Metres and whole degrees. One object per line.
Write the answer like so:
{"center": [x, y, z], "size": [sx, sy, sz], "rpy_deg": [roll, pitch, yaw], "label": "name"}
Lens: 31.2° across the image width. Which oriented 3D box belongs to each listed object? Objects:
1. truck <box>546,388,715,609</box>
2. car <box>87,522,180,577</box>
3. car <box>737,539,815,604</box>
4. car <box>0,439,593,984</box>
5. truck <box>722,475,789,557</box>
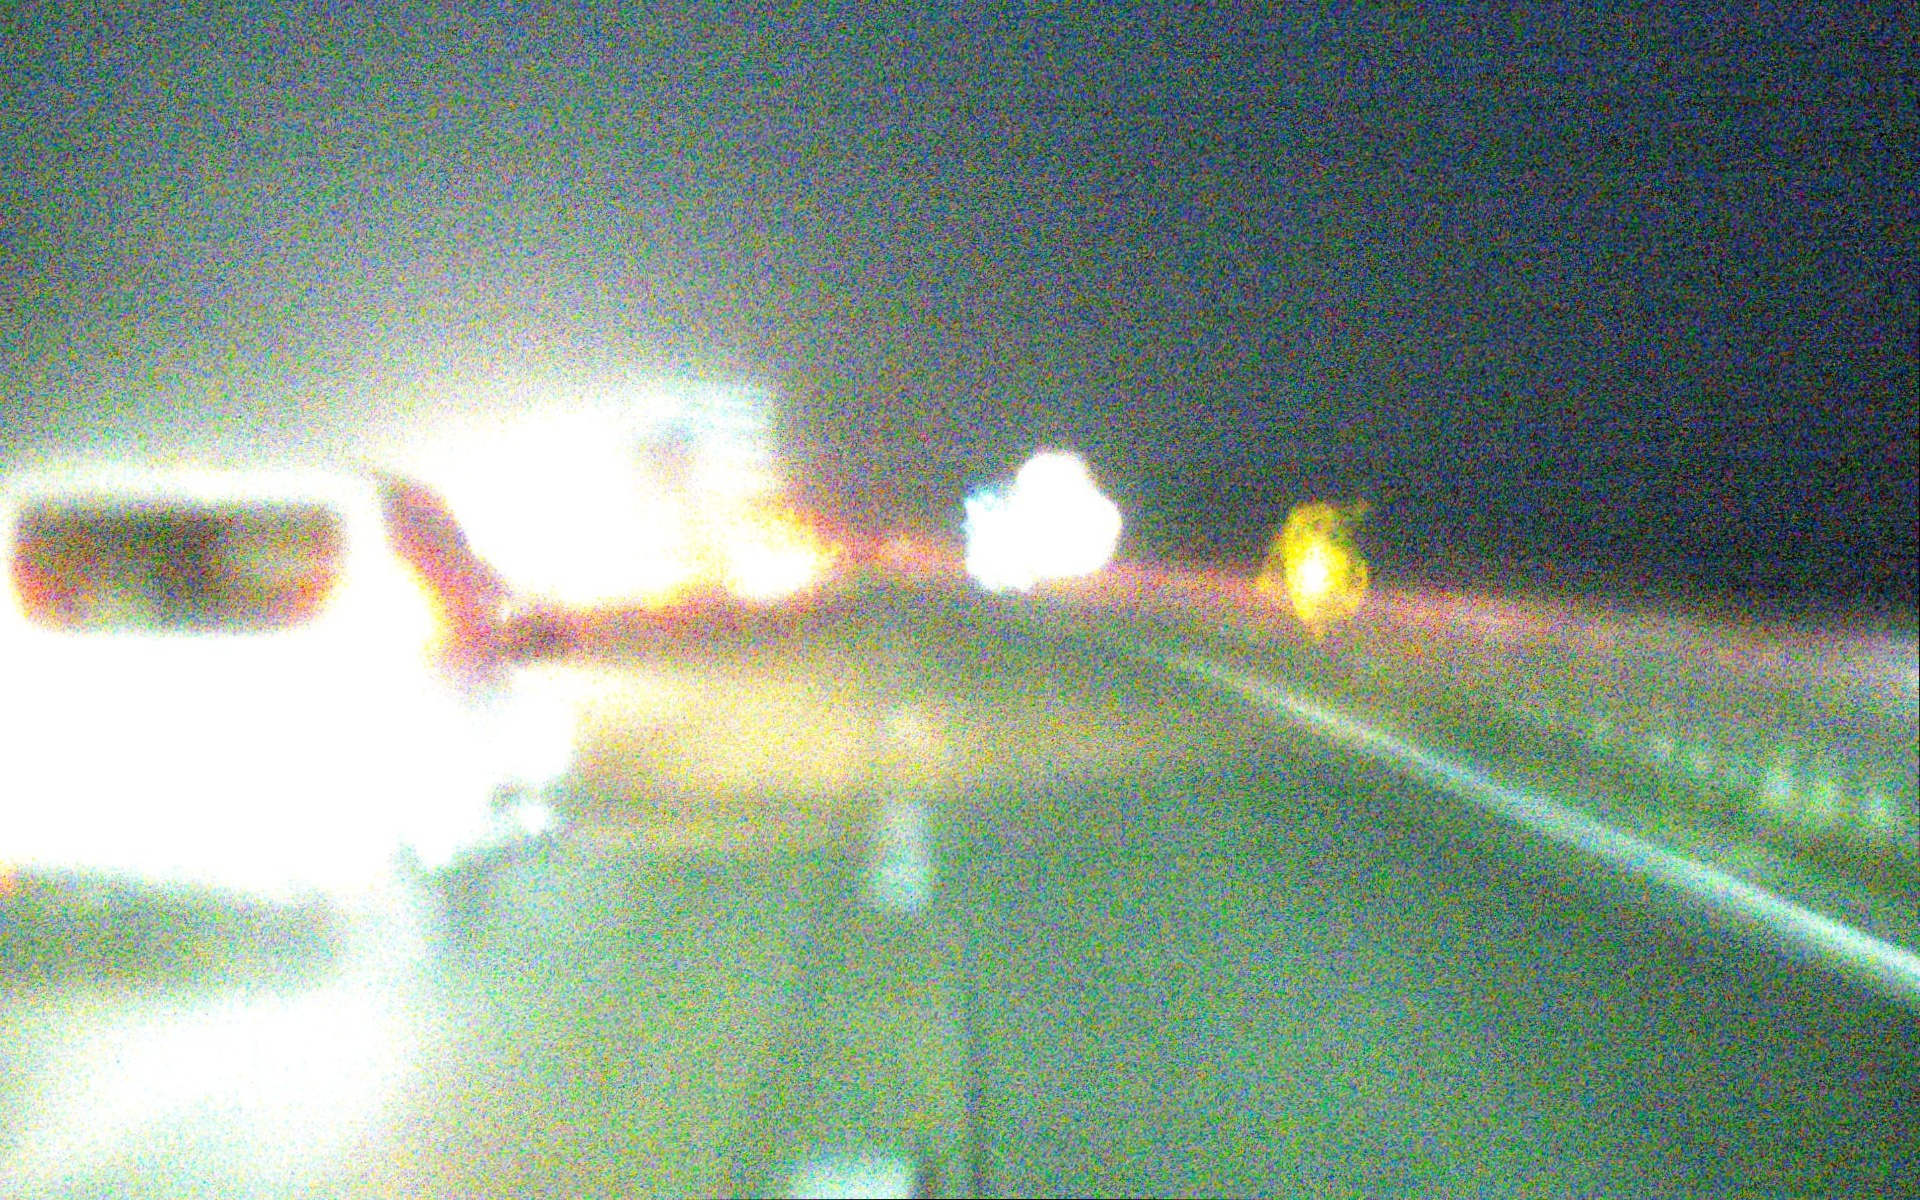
{"center": [-8.846, -2.672, 93.639], "size": [4.167, 5.525, 13.077], "rpy_deg": [1, 1, -4], "label": "truck"}
{"center": [-25.603, -1.560, 106.591], "size": [1.993, 1.637, 4.254], "rpy_deg": [1, 1, -2], "label": "car"}
{"center": [-5.080, -0.801, 94.518], "size": [1.993, 1.701, 4.196], "rpy_deg": [1, 1, -5], "label": "car"}
{"center": [-2.796, 0.292, 13.988], "size": [1.953, 1.786, 5.124], "rpy_deg": [1, 2, 1], "label": "car"}
{"center": [-12.828, -5.219, 214.685], "size": [3.823, 4.898, 11.608], "rpy_deg": [1, 1, -4], "label": "truck"}
